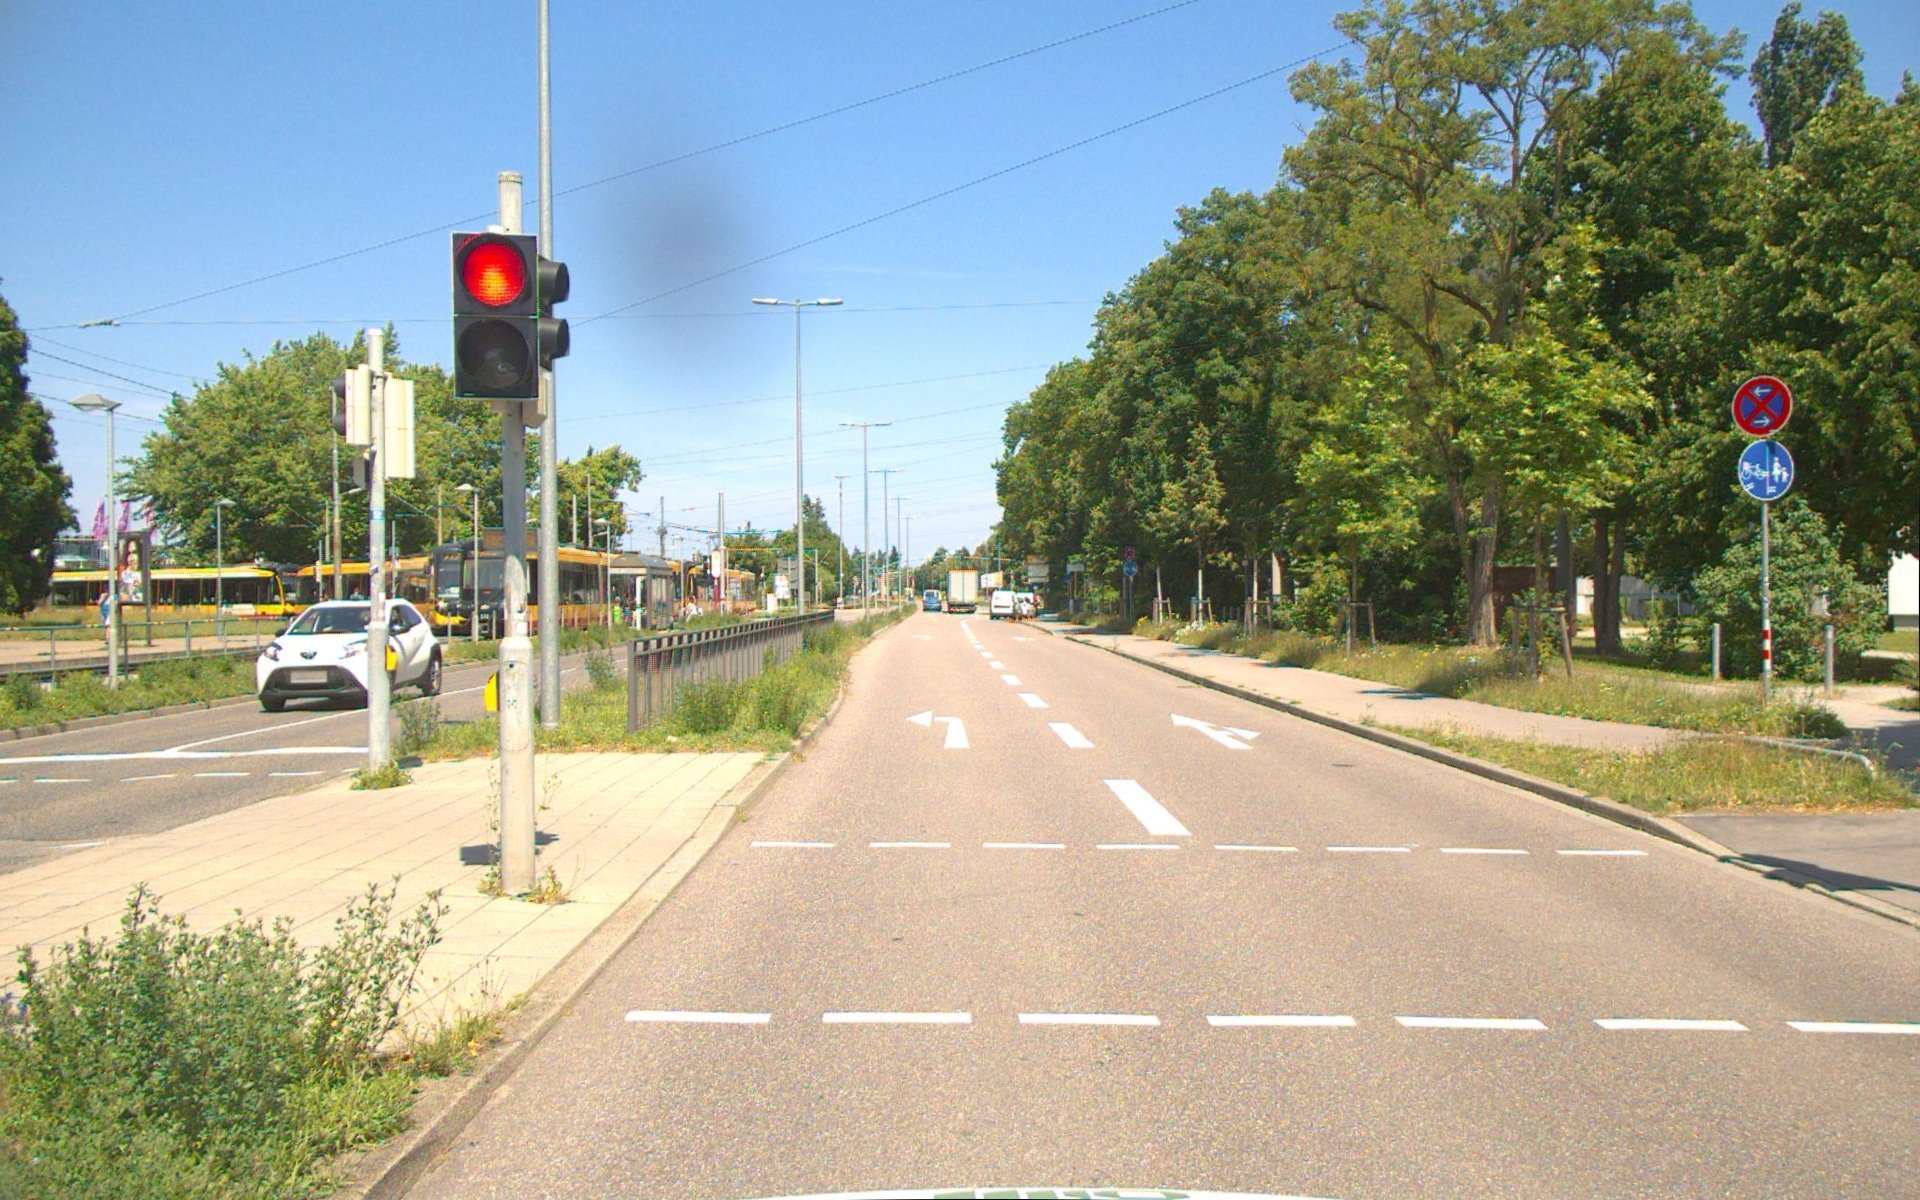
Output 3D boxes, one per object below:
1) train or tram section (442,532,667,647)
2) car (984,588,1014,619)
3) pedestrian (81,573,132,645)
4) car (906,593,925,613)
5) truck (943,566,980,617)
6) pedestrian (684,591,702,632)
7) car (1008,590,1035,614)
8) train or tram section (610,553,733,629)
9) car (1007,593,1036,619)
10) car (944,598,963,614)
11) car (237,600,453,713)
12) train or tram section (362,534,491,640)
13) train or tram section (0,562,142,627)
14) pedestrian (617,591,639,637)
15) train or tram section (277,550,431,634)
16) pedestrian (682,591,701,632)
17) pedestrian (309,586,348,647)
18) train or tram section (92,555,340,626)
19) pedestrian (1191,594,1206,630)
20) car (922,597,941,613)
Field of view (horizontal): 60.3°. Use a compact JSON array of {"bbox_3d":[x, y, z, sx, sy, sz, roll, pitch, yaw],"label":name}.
[{"bbox_3d":[-16.154,-0.396,70.001,2.898,3.815,30.023,0,0,-2],"label":"train or tram section"},{"bbox_3d":[2.447,0.213,105.544,1.743,1.937,3.999,0,0,-1],"label":"car"},{"bbox_3d":[-24.797,0.260,48.057,0.961,2.049,1.021,0,0,-1],"label":"pedestrian"},{"bbox_3d":[-4.708,0.320,175.083,1.953,2.049,3.999,0,0,-1],"label":"car"},{"bbox_3d":[0.062,-0.741,146.060,3.140,4.435,6.559,0,0,-1],"label":"truck"},{"bbox_3d":[-13.471,0.583,83.433,0.798,2.049,0.938,0,0,-1],"label":"pedestrian"},{"bbox_3d":[4.399,0.110,118.849,1.743,1.698,3.999,0,0,-1],"label":"car"},{"bbox_3d":[-17.087,-0.529,101.435,2.872,3.856,33.073,0,0,-2],"label":"train or tram section"},{"bbox_3d":[4.175,0.390,112.497,1.743,1.698,3.999,0,0,-1],"label":"car"},{"bbox_3d":[-0.599,0.552,153.594,1.774,1.490,3.999,0,0,-1],"label":"car"},{"bbox_3d":[-8.957,0.772,24.425,1.807,1.521,3.790,0,0,-1],"label":"car"},{"bbox_3d":[-23.364,-0.519,71.506,3.174,4.000,18.355,0,0,-25],"label":"train or tram section"},{"bbox_3d":[-60.160,-0.346,107.409,18.095,4.000,3.220,0,0,30],"label":"train or tram section"},{"bbox_3d":[-13.854,0.587,69.075,0.769,1.901,0.817,0,0,-1],"label":"pedestrian"},{"bbox_3d":[-32.329,-0.383,87.414,3.188,4.000,18.274,0,0,-35],"label":"train or tram section"},{"bbox_3d":[-13.748,0.584,84.722,0.798,2.049,0.938,0,0,-1],"label":"pedestrian"},{"bbox_3d":[-21.701,0.558,56.856,0.961,2.049,1.021,0,0,-1],"label":"pedestrian"},{"bbox_3d":[-44.550,-0.532,98.528,18.087,4.000,3.221,0,0,28],"label":"train or tram section"},{"bbox_3d":[9.518,0.476,66.025,0.591,1.463,0.556,0,0,6],"label":"pedestrian"},{"bbox_3d":[-2.695,0.511,157.830,1.774,1.490,3.999,0,0,-1],"label":"car"}]
